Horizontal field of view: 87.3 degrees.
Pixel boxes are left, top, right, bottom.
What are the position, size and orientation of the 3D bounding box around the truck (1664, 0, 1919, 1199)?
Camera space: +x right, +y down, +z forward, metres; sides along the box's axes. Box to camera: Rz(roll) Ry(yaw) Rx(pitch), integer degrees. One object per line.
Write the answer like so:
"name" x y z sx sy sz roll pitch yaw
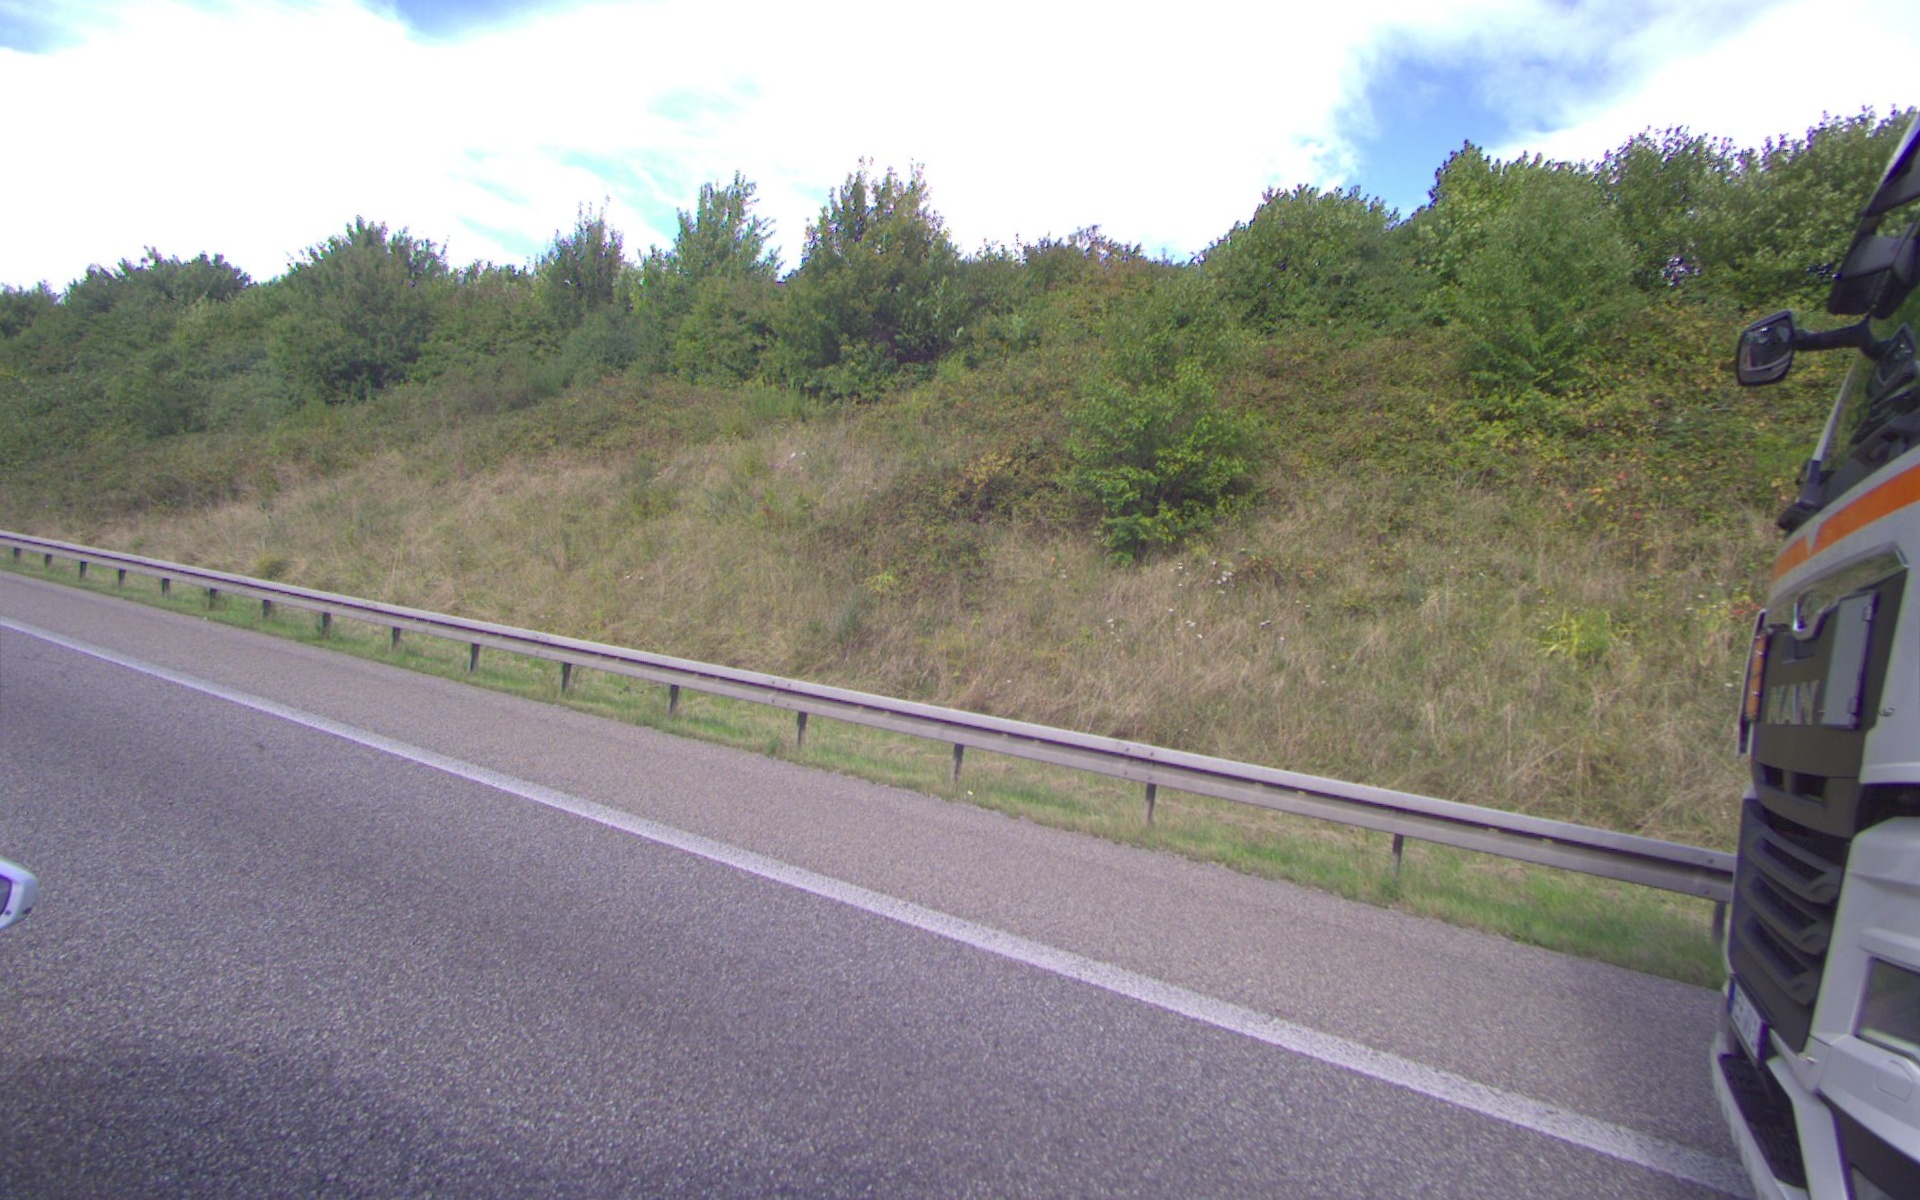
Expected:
"truck" 4.636 0.056 1.095 5.807 4.091 2.806 7 -1 33
